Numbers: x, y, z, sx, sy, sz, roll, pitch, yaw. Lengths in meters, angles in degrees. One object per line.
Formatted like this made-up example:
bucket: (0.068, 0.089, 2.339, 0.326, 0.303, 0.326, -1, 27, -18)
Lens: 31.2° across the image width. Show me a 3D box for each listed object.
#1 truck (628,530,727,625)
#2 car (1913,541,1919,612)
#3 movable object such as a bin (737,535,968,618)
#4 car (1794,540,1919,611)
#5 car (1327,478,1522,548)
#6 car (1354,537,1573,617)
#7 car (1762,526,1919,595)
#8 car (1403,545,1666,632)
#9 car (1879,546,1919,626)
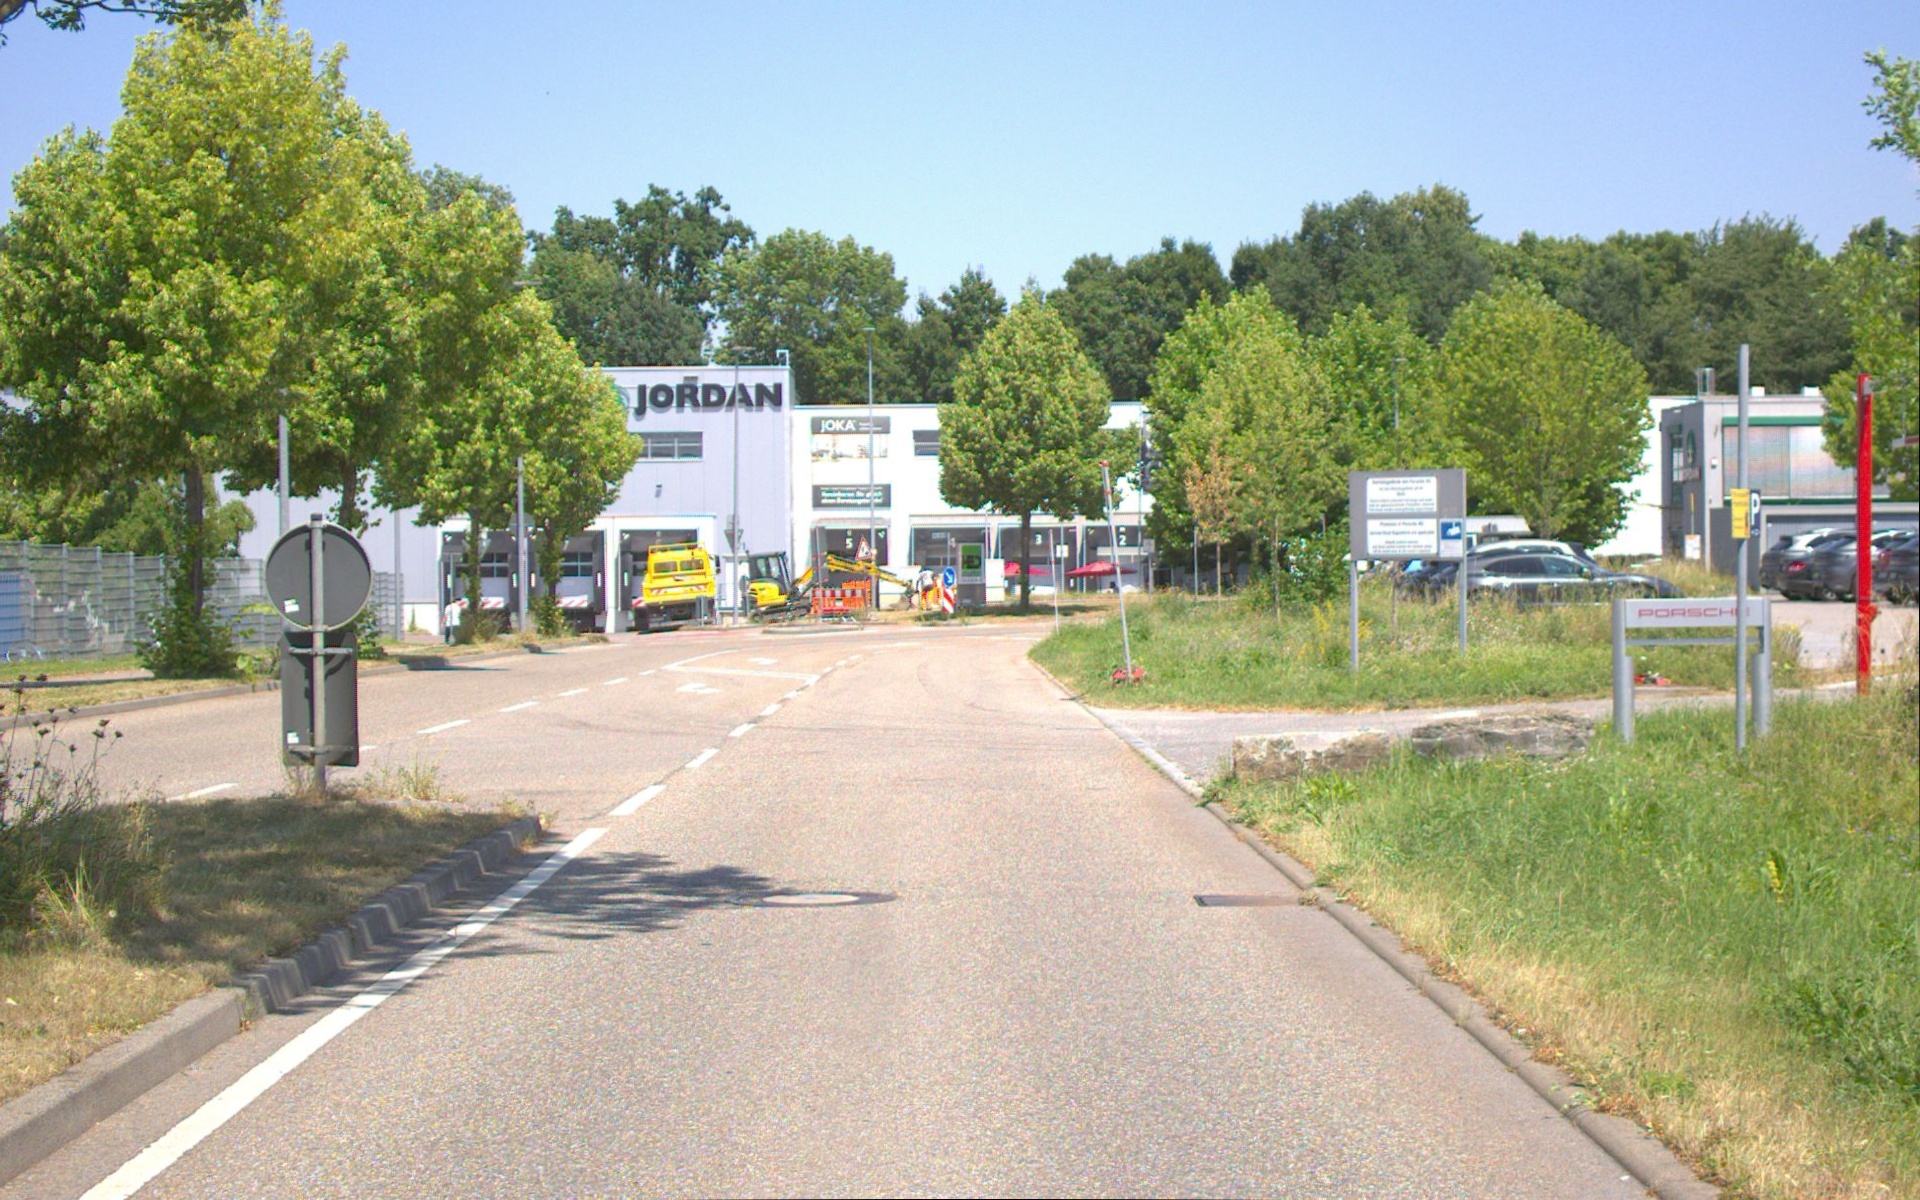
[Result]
truck: (-9.939, -0.837, 120.418, 2.938, 2.876, 5.812, -2, 4, -9)
car: (21.095, -0.484, 67.899, 3.986, 1.395, 1.769, -2, 4, -3)
movable object such as a bin: (-3.742, -0.838, 121.041, 7.528, 2.491, 3.666, -1, 4, 8)
car: (21.111, -0.576, 77.792, 3.986, 1.395, 1.769, -2, 4, -3)
car: (10.712, -2.014, 79.430, 4.162, 1.395, 1.769, -2, 4, -3)
car: (10.388, -0.491, 71.096, 4.162, 1.395, 1.769, -2, 4, -3)
car: (21.101, -0.938, 80.906, 3.986, 1.395, 1.769, -2, 4, -3)
car: (10.919, -0.236, 65.549, 4.704, 1.395, 1.922, -2, 4, 2)
car: (21.058, -0.355, 70.334, 3.986, 1.485, 1.769, -2, 4, -3)
